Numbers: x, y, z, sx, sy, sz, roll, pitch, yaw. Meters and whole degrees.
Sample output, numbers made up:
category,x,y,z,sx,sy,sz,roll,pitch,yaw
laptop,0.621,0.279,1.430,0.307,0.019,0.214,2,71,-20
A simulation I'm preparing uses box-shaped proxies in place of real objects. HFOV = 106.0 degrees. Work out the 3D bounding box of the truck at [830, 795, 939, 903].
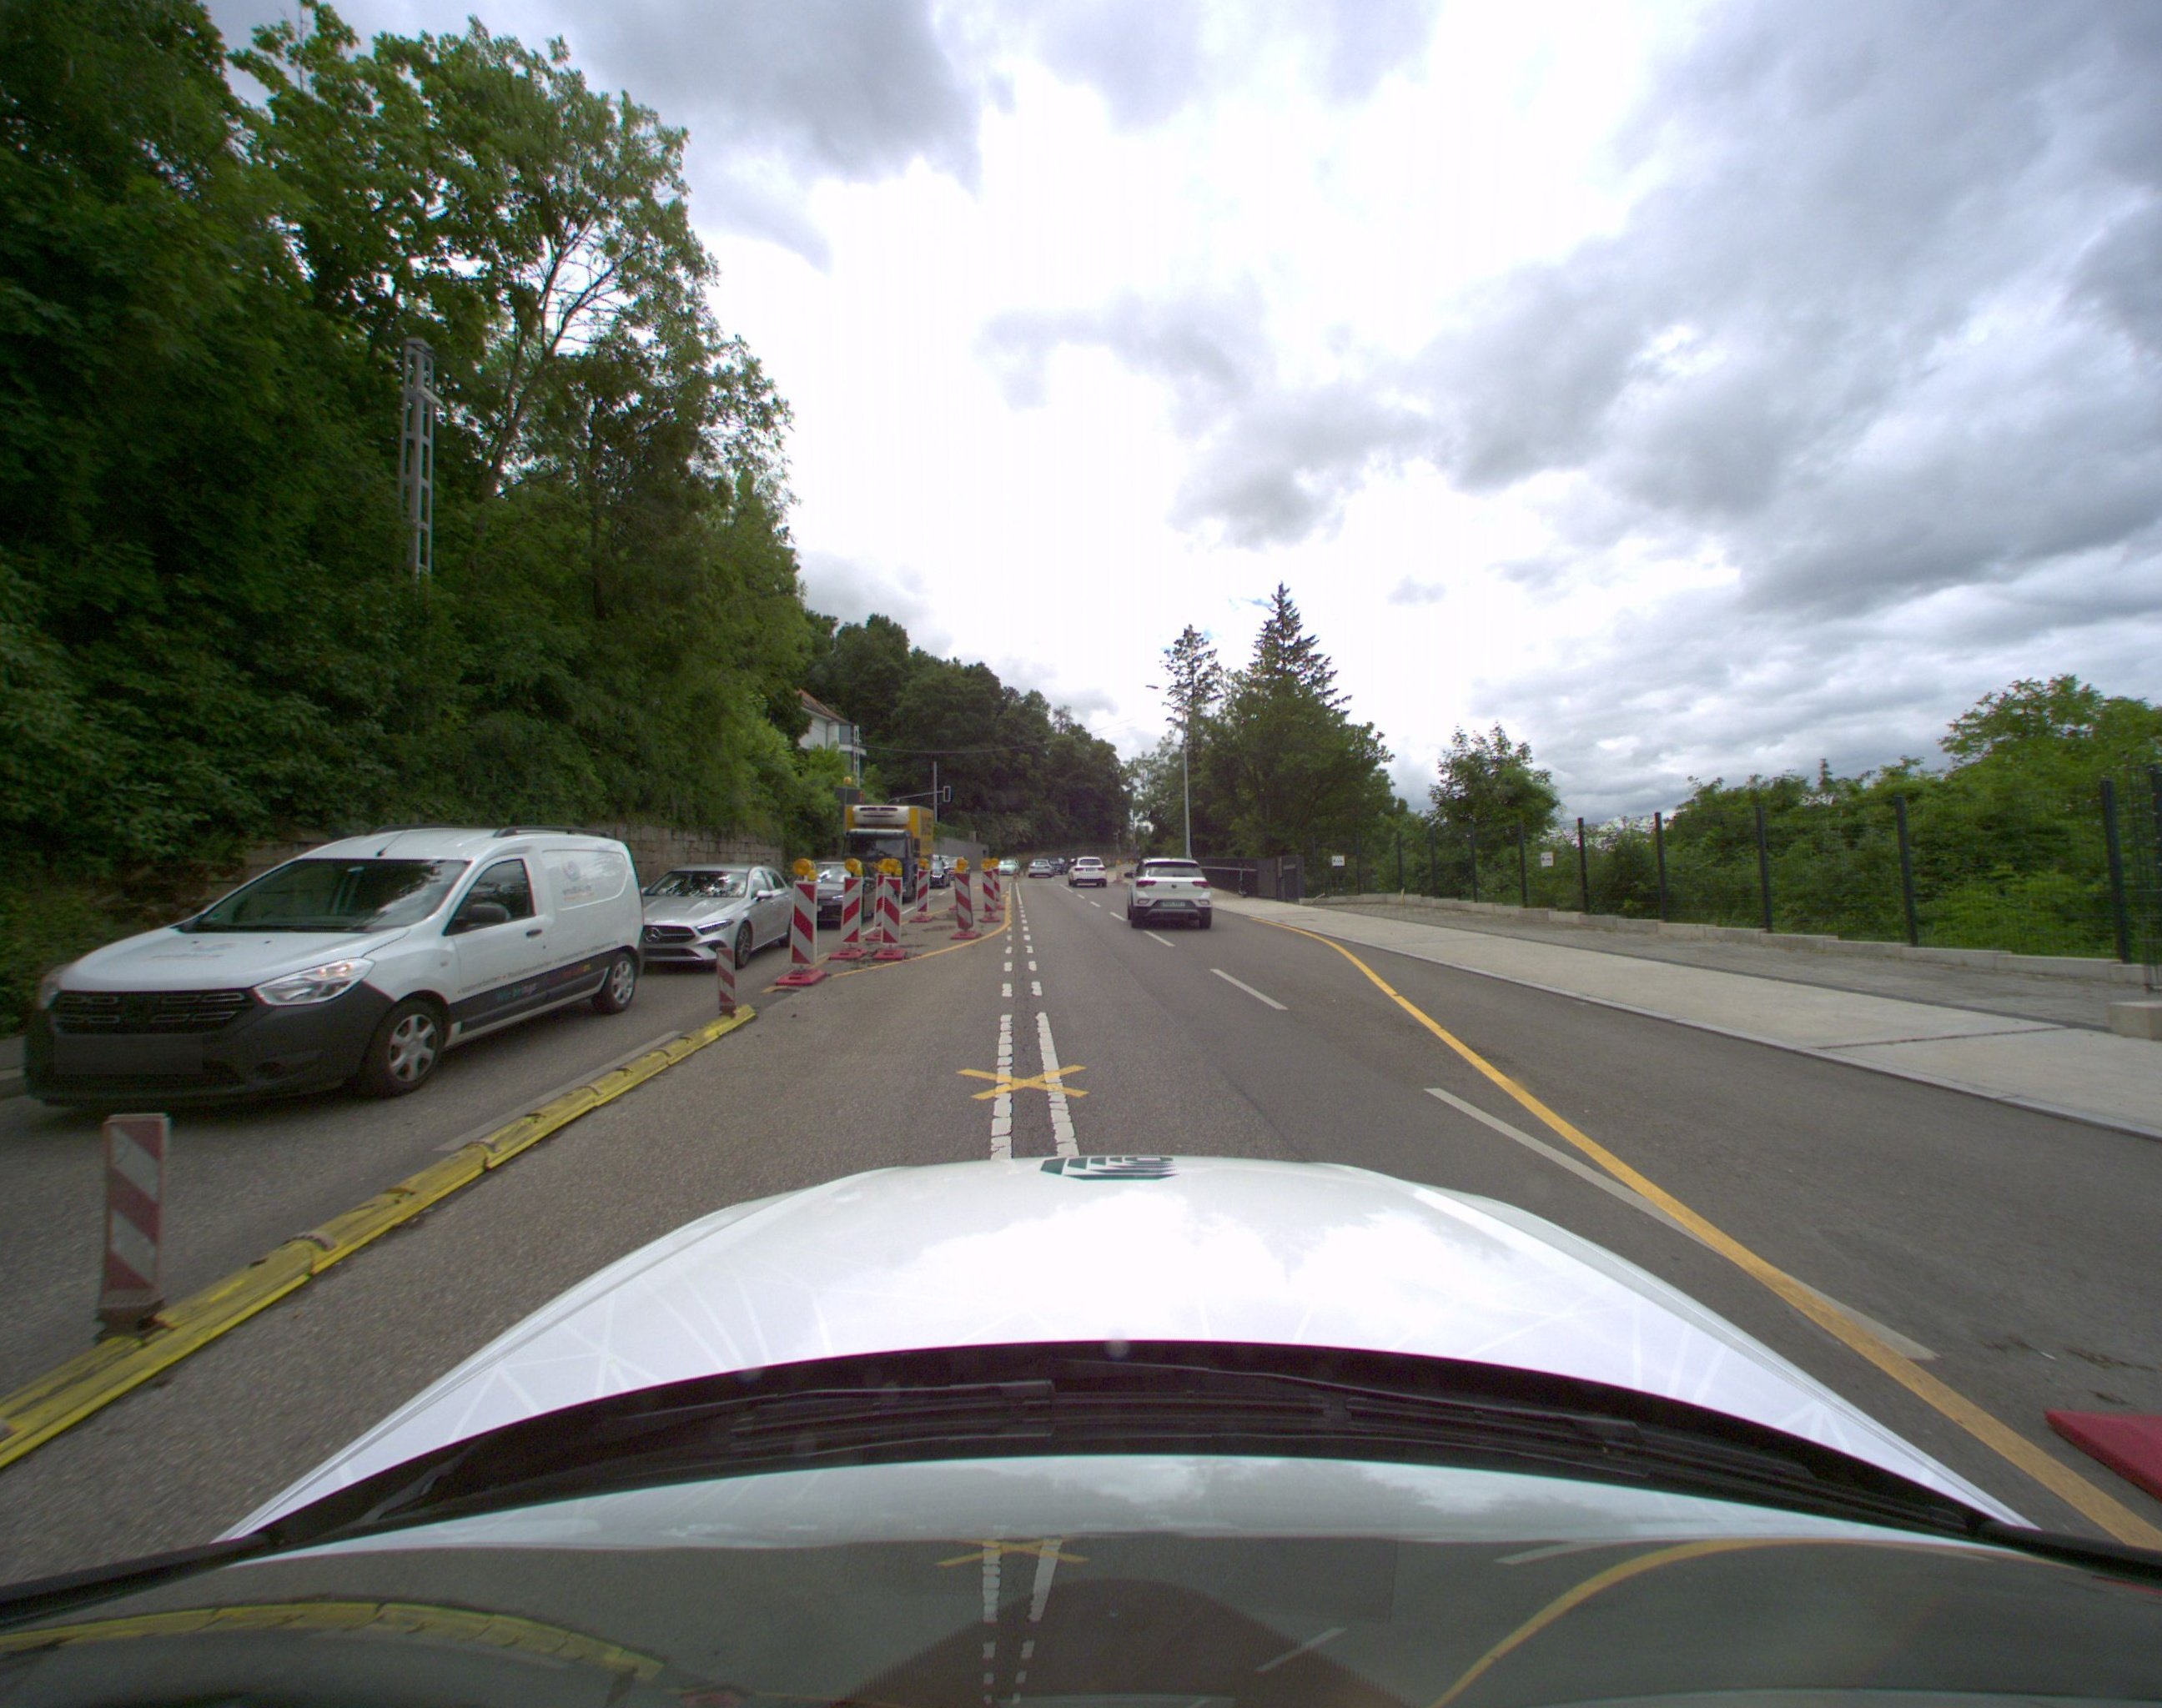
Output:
category,x,y,z,sx,sy,sz,roll,pitch,yaw
truck,-7.030,-0.140,30.241,2.726,3.510,7.339,0,-1,-4

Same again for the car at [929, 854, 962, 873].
category,x,y,z,sx,sy,sz,roll,pitch,yaw
car,-11.861,0.812,71.597,1.824,1.572,4.481,1,-1,5

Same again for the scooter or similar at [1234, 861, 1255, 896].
category,x,y,z,sx,sy,sz,roll,pitch,yaw
scooter or similar,6.140,0.913,30.661,0.532,1.226,1.207,-2,1,2

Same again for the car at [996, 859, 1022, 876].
category,x,y,z,sx,sy,sz,roll,pitch,yaw
car,-6.384,1.158,72.224,1.703,1.466,3.664,1,0,4

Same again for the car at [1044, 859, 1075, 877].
category,x,y,z,sx,sy,sz,roll,pitch,yaw
car,-1.971,1.287,75.656,1.981,1.541,4.022,1,-1,11

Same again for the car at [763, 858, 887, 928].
category,x,y,z,sx,sy,sz,roll,pitch,yaw
car,-5.927,0.847,19.418,1.767,1.441,4.737,1,-1,-5

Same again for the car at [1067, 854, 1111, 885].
category,x,y,z,sx,sy,sz,roll,pitch,yaw
car,0.386,0.828,45.146,1.990,1.586,3.992,1,-1,-5

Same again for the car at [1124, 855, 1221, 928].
category,x,y,z,sx,sy,sz,roll,pitch,yaw
car,2.024,0.811,19.055,1.861,1.536,3.803,0,0,0

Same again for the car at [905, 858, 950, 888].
category,x,y,z,sx,sy,sz,roll,pitch,yaw
car,-7.928,0.941,42.413,1.806,1.430,4.867,0,0,-5

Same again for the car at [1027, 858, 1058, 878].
category,x,y,z,sx,sy,sz,roll,pitch,yaw
car,-3.110,1.134,65.879,1.897,1.574,4.006,1,-1,6

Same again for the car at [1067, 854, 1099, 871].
category,x,y,z,sx,sy,sz,roll,pitch,yaw
car,0.255,0.926,85.064,1.799,1.689,4.022,1,-1,24

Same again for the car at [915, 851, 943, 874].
category,x,y,z,sx,sy,sz,roll,pitch,yaw
car,-11.502,0.610,61.735,1.707,1.573,2.954,3,0,-4

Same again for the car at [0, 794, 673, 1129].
category,x,y,z,sx,sy,sz,roll,pitch,yaw
car,-5.211,0.610,6.577,1.799,1.790,4.336,1,-1,-4

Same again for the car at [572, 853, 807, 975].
category,x,y,z,sx,sy,sz,roll,pitch,yaw
car,-5.646,0.785,12.426,1.788,1.507,4.303,1,-1,-5

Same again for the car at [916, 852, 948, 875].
category,x,y,z,sx,sy,sz,roll,pitch,yaw
car,-11.986,0.718,65.839,1.854,1.731,4.757,2,0,-2

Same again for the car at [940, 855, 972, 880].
category,x,y,z,sx,sy,sz,roll,pitch,yaw
car,-8.732,0.924,57.102,1.880,1.697,4.663,0,0,-5

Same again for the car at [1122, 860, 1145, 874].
category,x,y,z,sx,sy,sz,roll,pitch,yaw
car,6.724,1.635,104.535,1.800,1.689,4.021,1,-1,21
